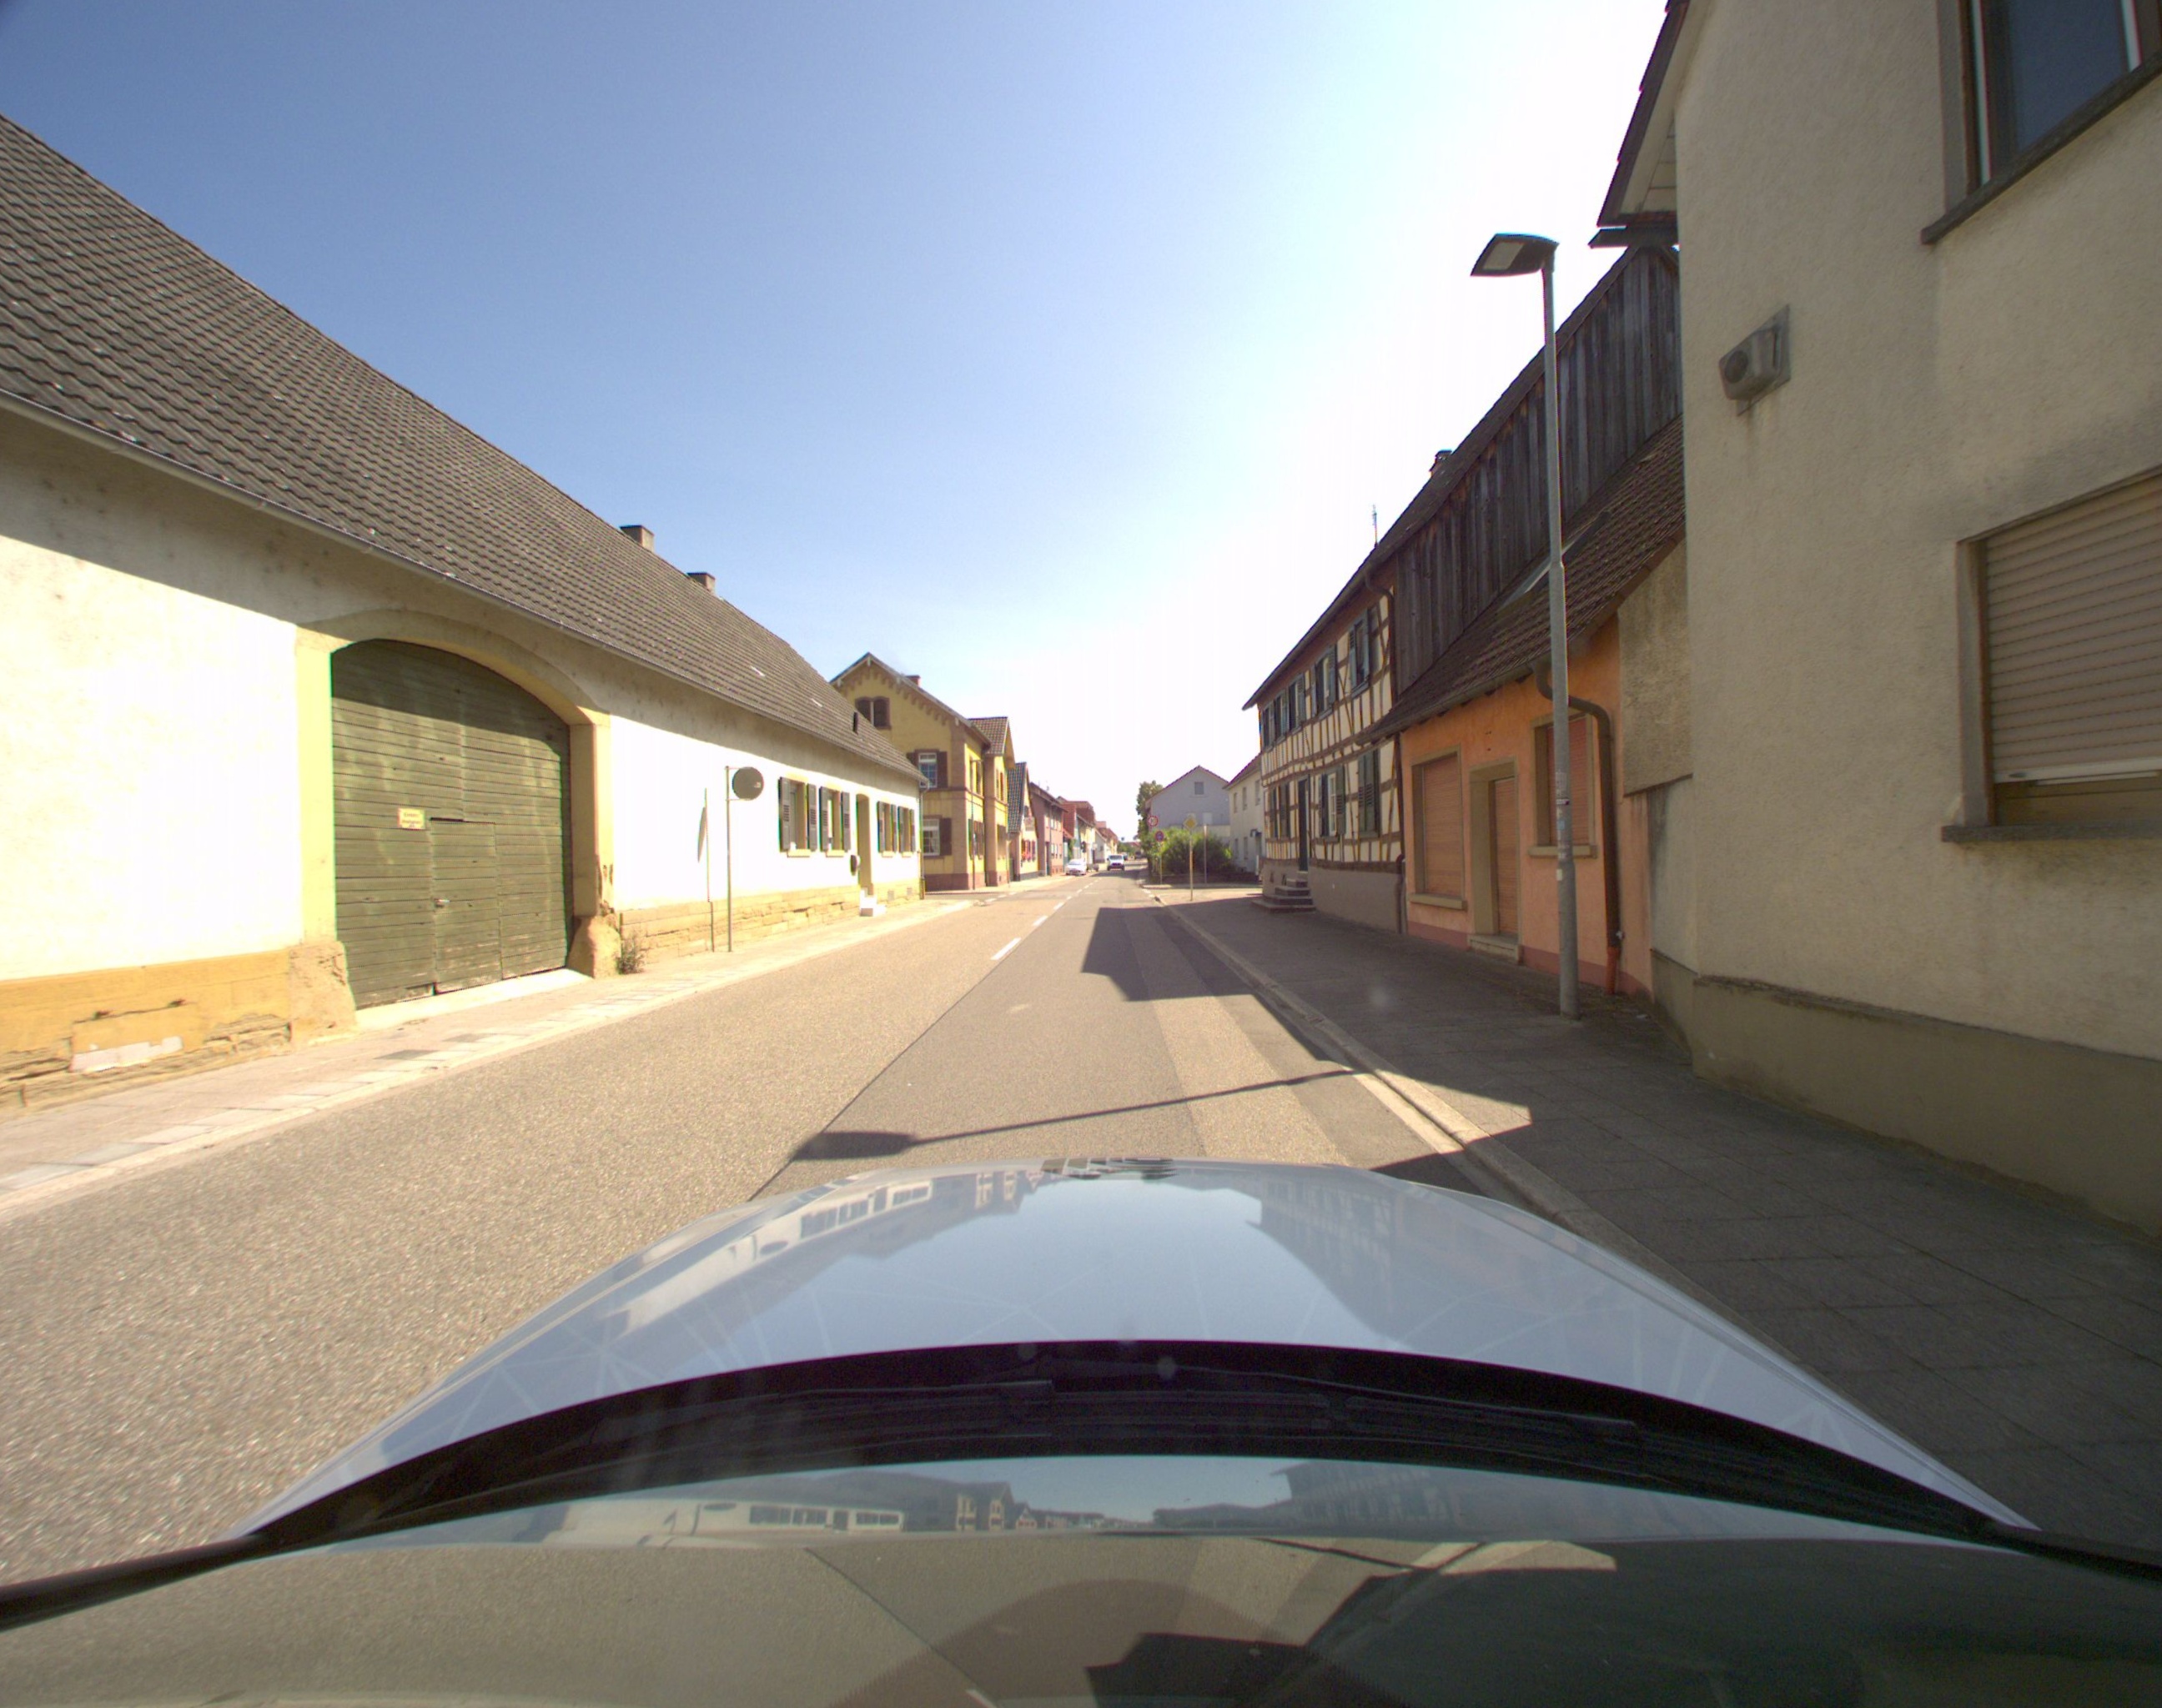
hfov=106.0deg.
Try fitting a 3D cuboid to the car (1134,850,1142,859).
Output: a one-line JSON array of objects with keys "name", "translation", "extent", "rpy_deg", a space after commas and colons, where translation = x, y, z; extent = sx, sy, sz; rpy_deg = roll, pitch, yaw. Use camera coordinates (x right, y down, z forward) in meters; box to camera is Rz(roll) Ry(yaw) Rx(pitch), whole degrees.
[{"name": "car", "translation": [15.638, 0.119, 222.905], "extent": [2.010, 2.567, 4.002], "rpy_deg": [-2, 0, 2]}]

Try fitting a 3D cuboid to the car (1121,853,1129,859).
[{"name": "car", "translation": [11.314, 0.478, 208.422], "extent": [1.860, 1.544, 3.840], "rpy_deg": [-2, 0, 2]}]

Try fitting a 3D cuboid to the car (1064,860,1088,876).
[{"name": "car", "translation": [-0.449, 1.288, 77.093], "extent": [1.985, 1.442, 4.003], "rpy_deg": [-2, 0, 2]}]

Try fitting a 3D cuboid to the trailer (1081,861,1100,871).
[{"name": "trailer", "translation": [1.112, 1.332, 93.584], "extent": [1.986, 1.090, 4.001], "rpy_deg": [-2, 0, 1]}]

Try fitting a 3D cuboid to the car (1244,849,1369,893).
[{"name": "car", "translation": [8.150, 0.596, 29.712], "extent": [3.976, 1.442, 1.999], "rpy_deg": [-1, 0, -2]}]

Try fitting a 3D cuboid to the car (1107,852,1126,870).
[{"name": "car", "translation": [4.254, 0.894, 98.886], "extent": [2.150, 2.080, 4.001], "rpy_deg": [-2, -2, 1]}]
